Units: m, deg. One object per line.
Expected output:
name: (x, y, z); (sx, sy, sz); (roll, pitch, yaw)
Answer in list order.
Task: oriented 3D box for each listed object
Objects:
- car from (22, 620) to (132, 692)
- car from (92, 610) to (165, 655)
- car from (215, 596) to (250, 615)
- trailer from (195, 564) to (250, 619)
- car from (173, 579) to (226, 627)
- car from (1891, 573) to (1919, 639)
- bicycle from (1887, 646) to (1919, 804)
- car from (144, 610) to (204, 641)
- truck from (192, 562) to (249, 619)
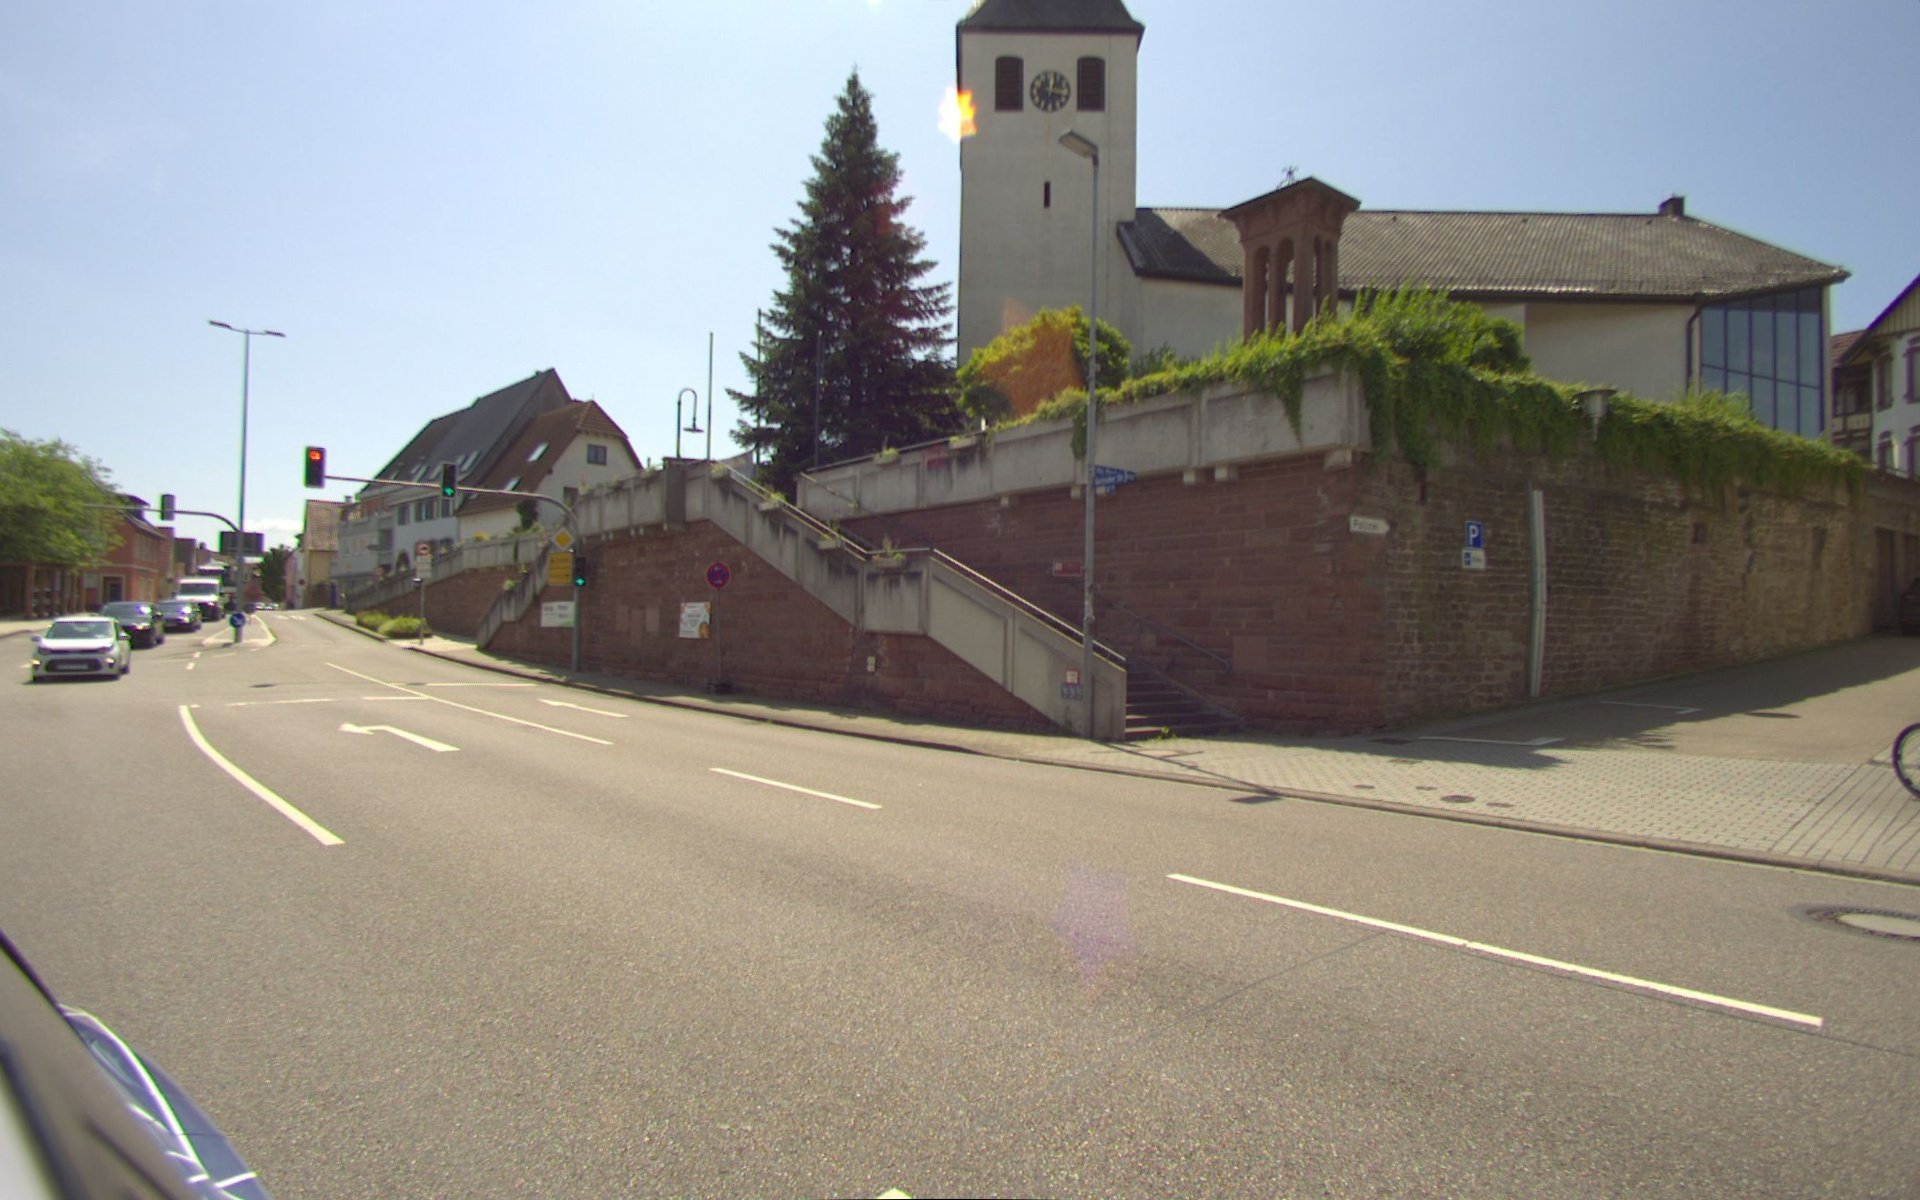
car: (-21.554, 1.290, 24.840); (1.697, 1.562, 4.313); (0, -1, -37)
car: (-30.852, 1.161, 37.641); (1.697, 1.562, 4.314); (0, -1, -34)
car: (-67.243, 0.554, 93.556); (1.978, 1.643, 4.592); (1, -2, -28)
trailer: (-53.254, -0.474, 73.260); (2.792, 3.597, 10.993); (2, -2, -34)
car: (-42.781, 0.211, 56.996); (2.140, 2.583, 4.836); (2, -2, -35)
car: (24.269, 0.126, 24.284); (3.933, 1.532, 1.991); (0, -2, -35)
bicycle: (8.078, 1.014, 7.542); (0.570, 1.258, 1.831); (-3, 0, -1)
car: (-36.337, 1.140, 46.867); (1.898, 1.376, 4.315); (0, -1, -34)
truck: (-49.548, -0.550, 67.908); (2.802, 3.597, 5.482); (2, -2, -34)
